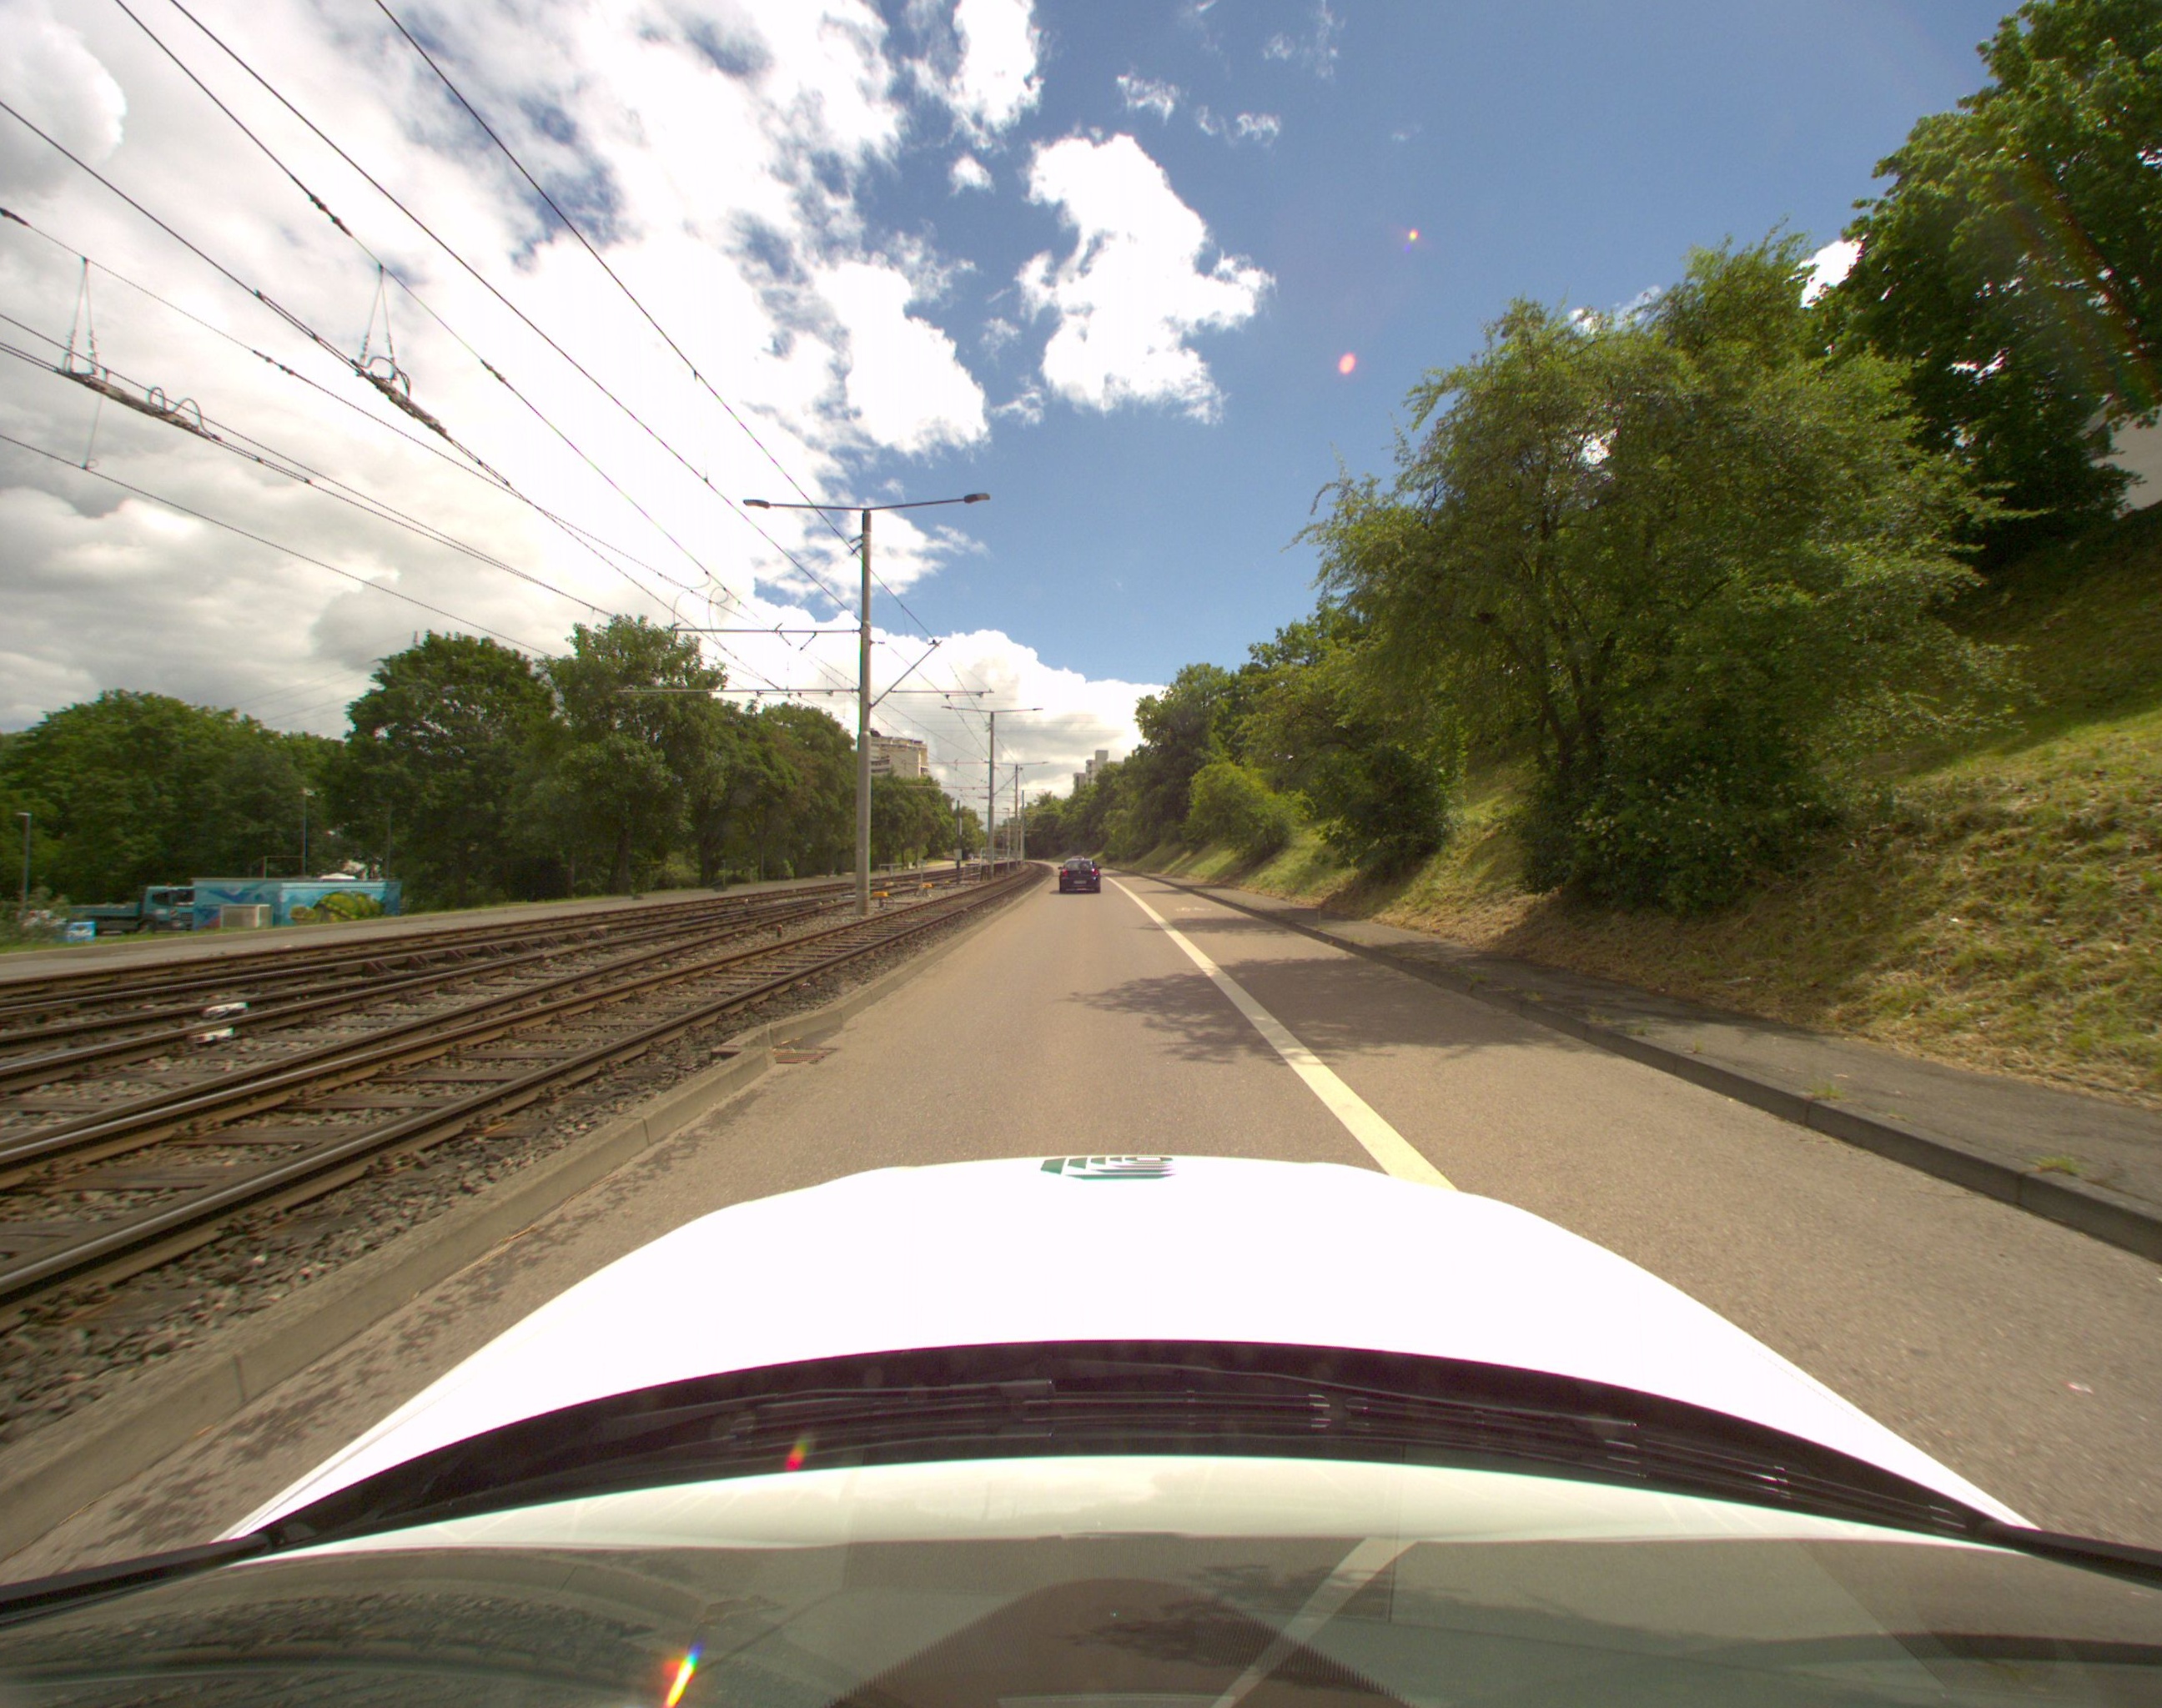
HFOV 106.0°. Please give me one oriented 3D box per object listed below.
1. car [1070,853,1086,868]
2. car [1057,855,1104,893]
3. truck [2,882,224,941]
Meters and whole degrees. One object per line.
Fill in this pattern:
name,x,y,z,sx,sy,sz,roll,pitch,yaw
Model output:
car,-0.303,0.644,83.465,1.619,1.443,3.420,1,2,-1
car,0.031,0.825,34.662,1.701,1.460,3.963,1,-1,3
truck,-52.787,3.112,44.558,9.057,2.695,2.616,-2,0,1
